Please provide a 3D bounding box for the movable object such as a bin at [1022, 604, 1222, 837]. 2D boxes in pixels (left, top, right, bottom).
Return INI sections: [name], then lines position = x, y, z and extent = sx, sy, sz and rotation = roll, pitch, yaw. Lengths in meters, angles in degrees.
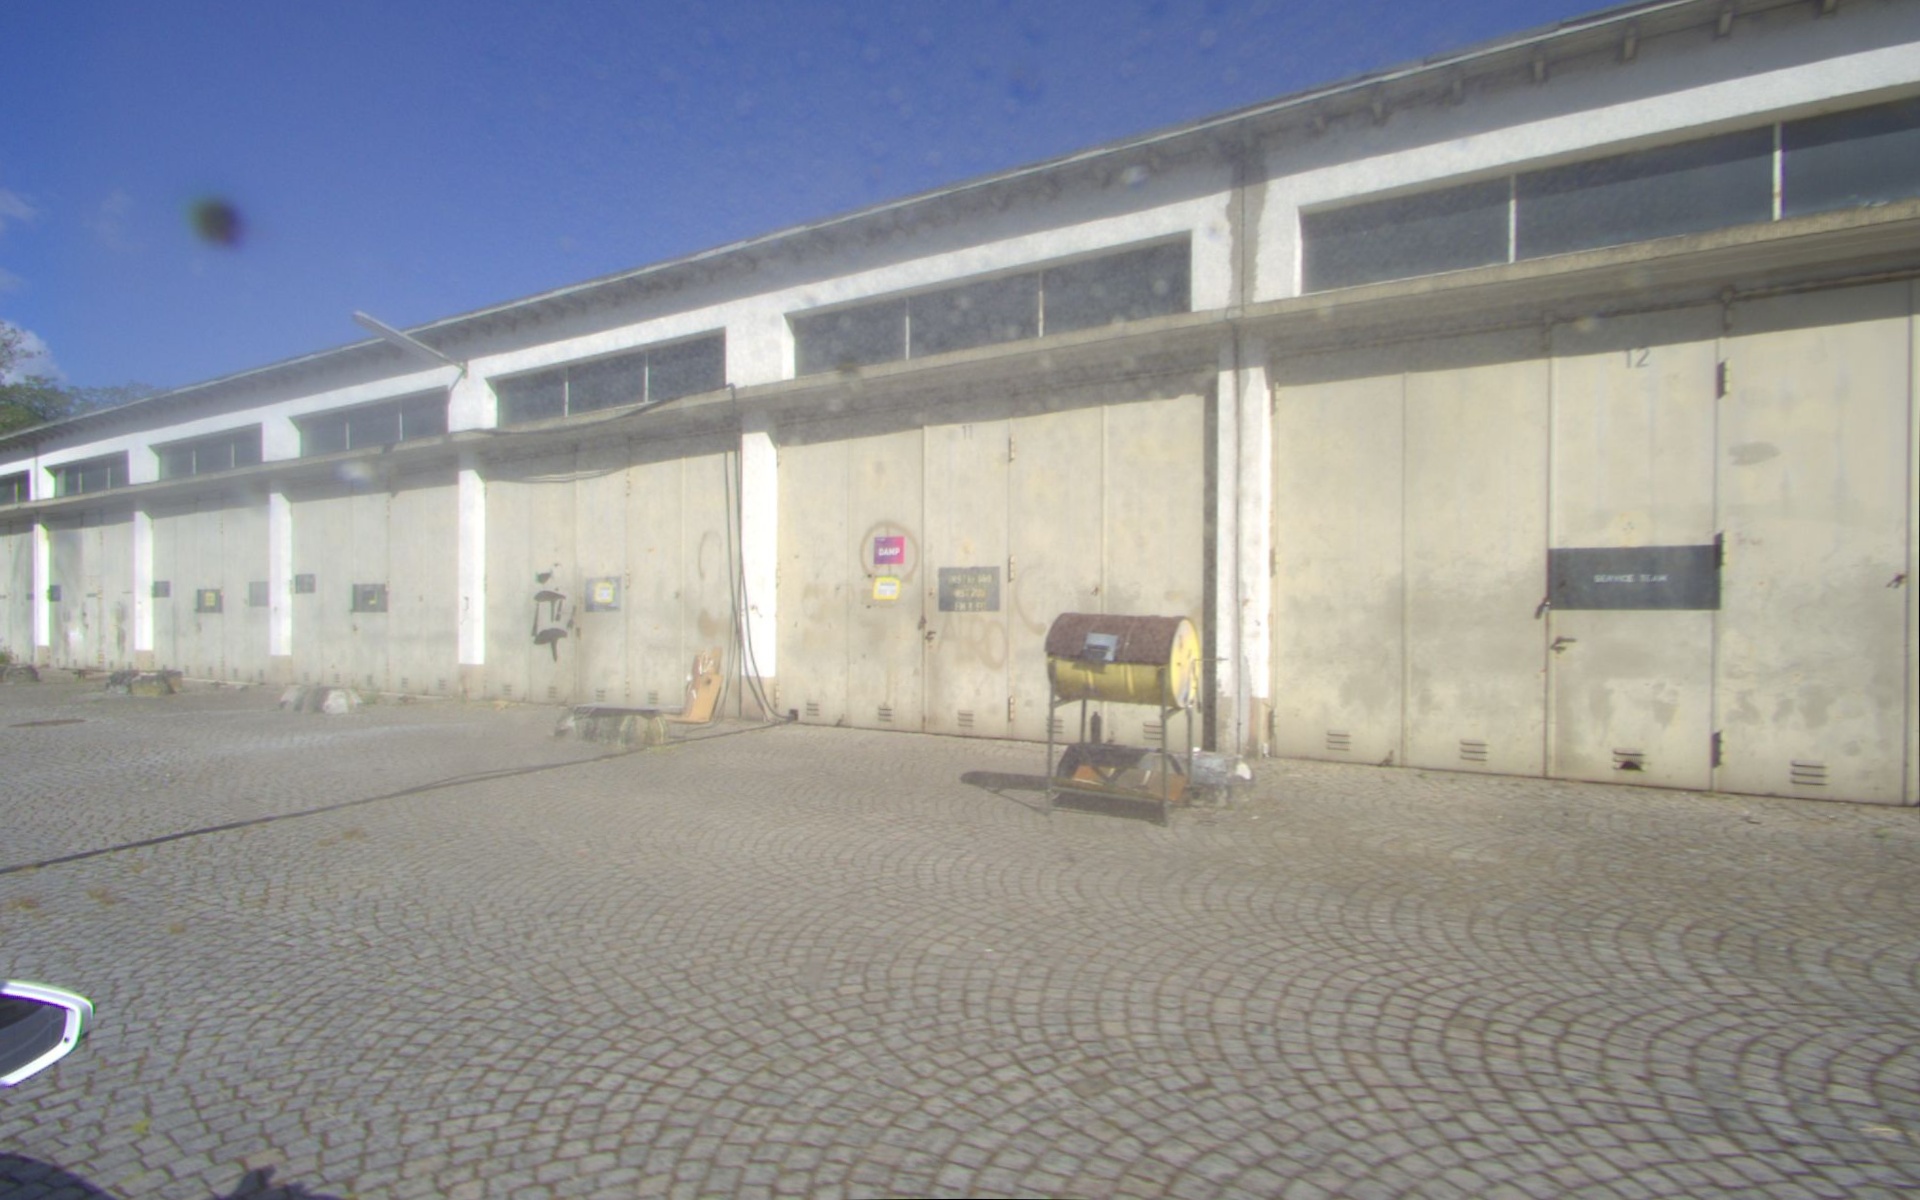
[movable object such as a bin]
position = 1.101, 0.743, 6.748
extent = 1.085, 1.419, 0.874
rotation = 0, -1, 31
